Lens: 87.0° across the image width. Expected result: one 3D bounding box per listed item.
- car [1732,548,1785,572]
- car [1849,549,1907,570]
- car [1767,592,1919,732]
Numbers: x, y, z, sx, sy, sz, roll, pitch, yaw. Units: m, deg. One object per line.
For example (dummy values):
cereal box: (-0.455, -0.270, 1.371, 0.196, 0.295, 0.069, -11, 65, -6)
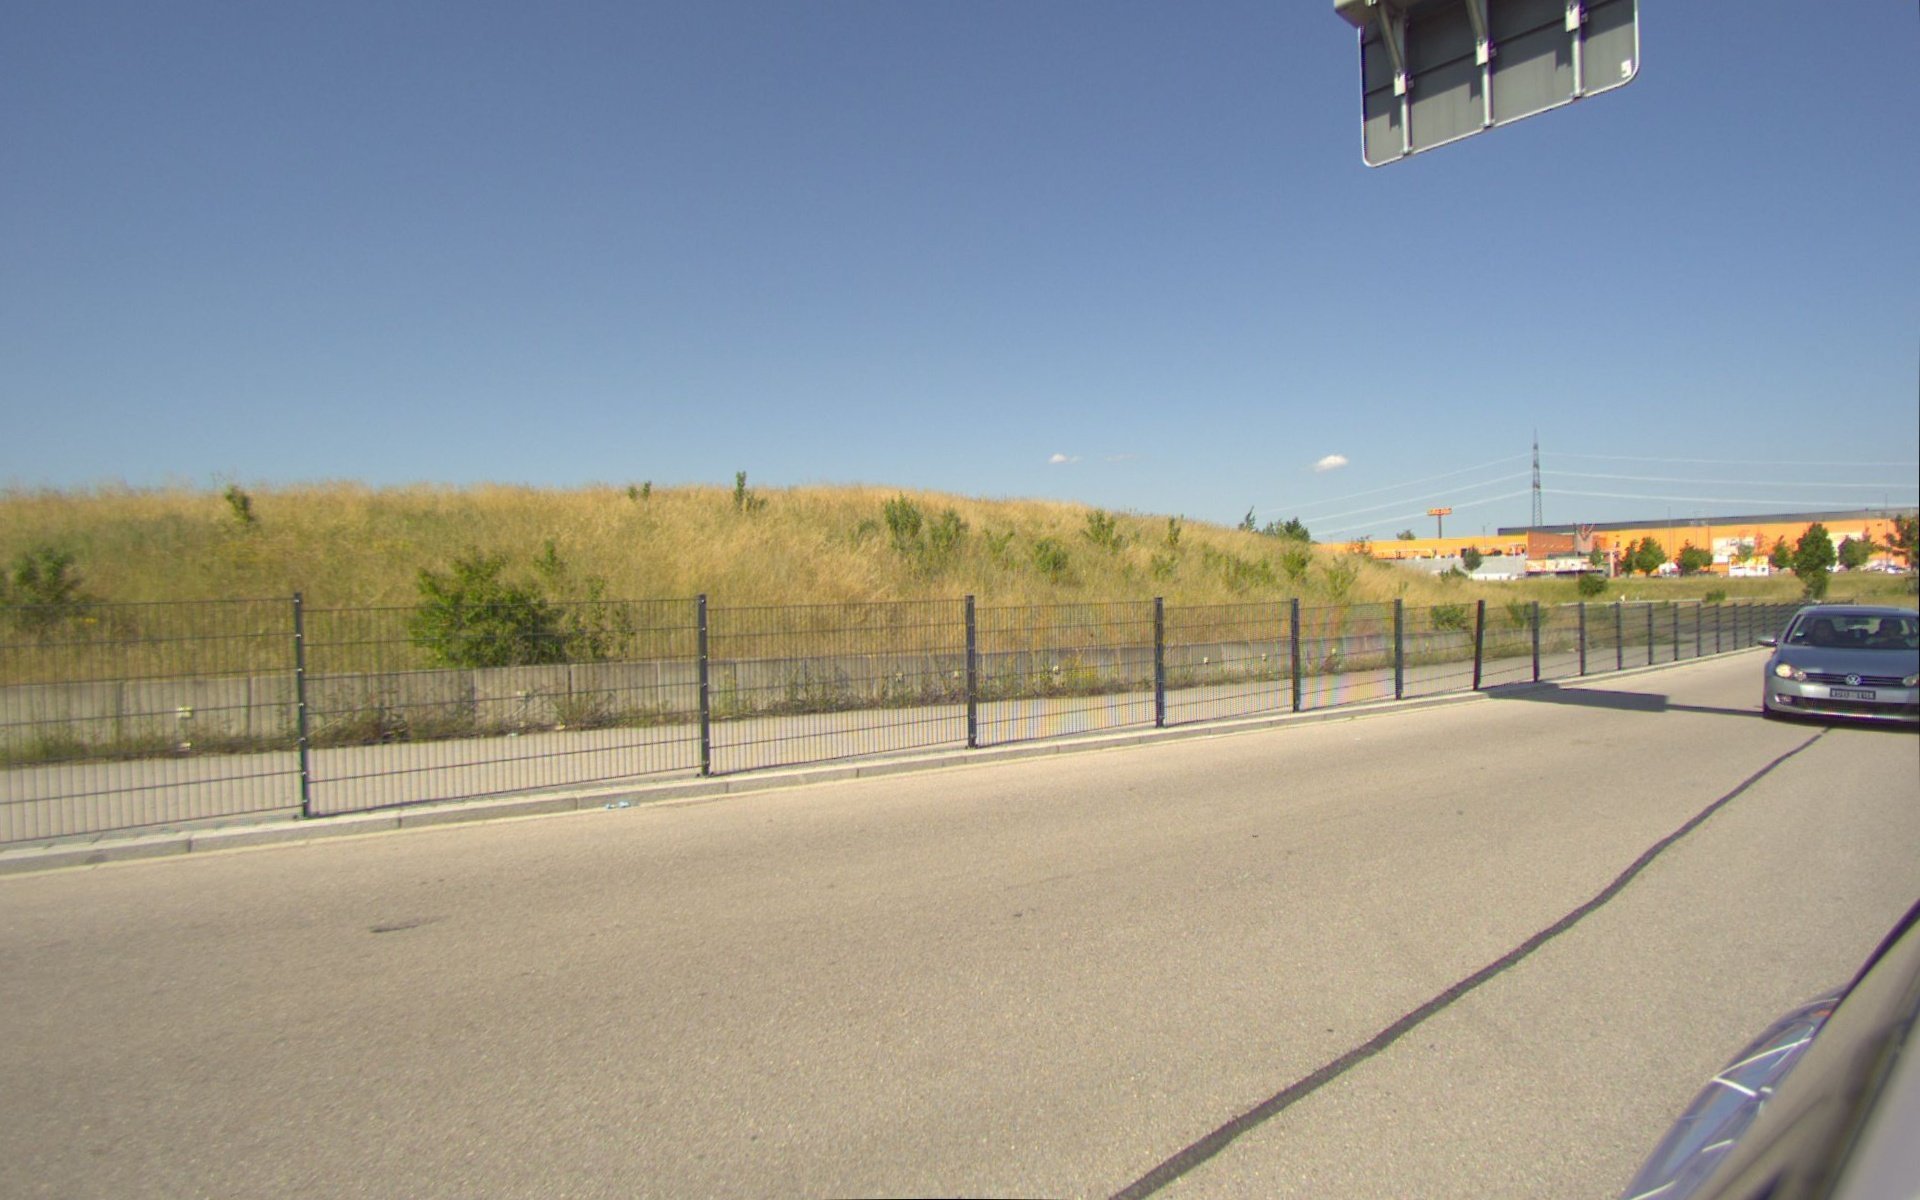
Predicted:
car: (92.362, -4.596, 117.087, 4.617, 2.581, 1.970, -1, 0, 42)
car: (99.631, -4.367, 109.900, 4.617, 2.039, 1.970, -1, 0, 42)
car: (11.607, 0.684, 13.088, 1.738, 1.486, 3.907, 2, 2, 38)
